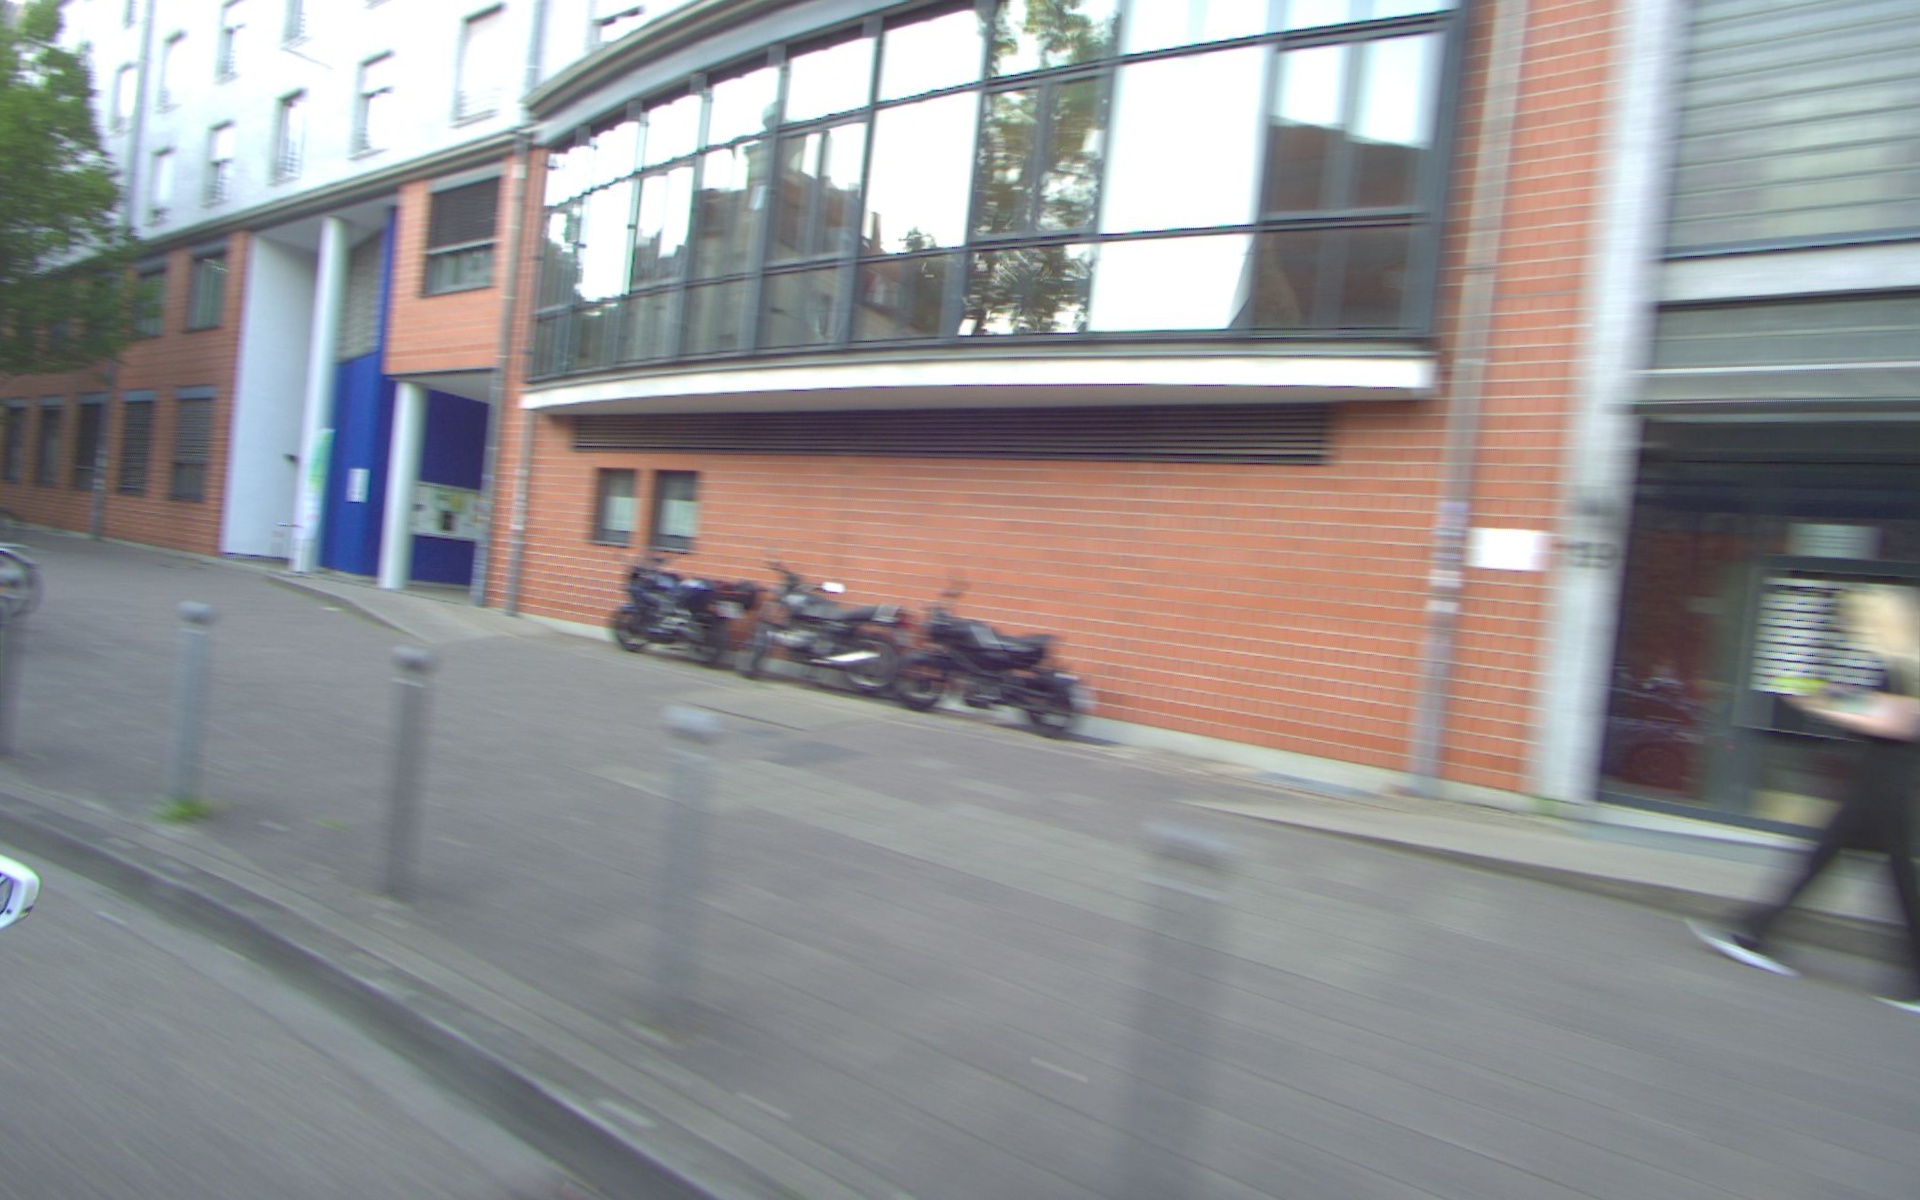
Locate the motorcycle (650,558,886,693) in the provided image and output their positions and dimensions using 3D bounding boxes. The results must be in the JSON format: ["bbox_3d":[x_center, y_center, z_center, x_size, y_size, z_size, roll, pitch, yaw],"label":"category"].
[{"bbox_3d":[-2.083,0.245,10.851,2.372,1.154,0.777,6,2,21],"label":"motorcycle"}]

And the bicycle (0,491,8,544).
[{"bbox_3d":[-22.632,-1.982,21.986,0.553,1.181,2.534,7,0,36],"label":"bicycle"}]

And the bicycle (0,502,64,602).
[{"bbox_3d":[-10.956,-0.570,10.823,0.515,1.080,1.858,7,2,32],"label":"bicycle"}]

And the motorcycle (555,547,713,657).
[{"bbox_3d":[-3.993,0.001,12.241,2.049,1.118,0.588,7,3,31],"label":"motorcycle"}]

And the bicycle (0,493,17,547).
[{"bbox_3d":[-22.119,-1.885,21.649,0.553,1.181,2.534,7,0,36],"label":"bicycle"}]

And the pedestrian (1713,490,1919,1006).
[{"bbox_3d":[3.922,0.601,4.346,0.844,2.039,0.607,7,1,35],"label":"pedestrian"}]

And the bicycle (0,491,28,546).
[{"bbox_3d":[-20.676,-1.749,20.523,0.669,1.114,2.343,7,3,36],"label":"bicycle"}]

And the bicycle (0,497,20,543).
[{"bbox_3d":[-21.631,-1.780,21.236,0.669,0.972,2.531,7,3,36],"label":"bicycle"}]

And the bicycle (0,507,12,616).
[{"bbox_3d":[-9.845,-0.415,9.258,0.464,1.052,1.540,7,2,32],"label":"bicycle"}]

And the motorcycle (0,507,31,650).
[{"bbox_3d":[-8.133,-0.205,7.485,0.636,1.116,1.646,7,2,26],"label":"motorcycle"}]

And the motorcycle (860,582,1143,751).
[{"bbox_3d":[0.322,0.534,9.058,2.401,1.155,0.799,7,3,34],"label":"motorcycle"}]

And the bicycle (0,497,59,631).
[{"bbox_3d":[-8.967,-0.347,8.529,0.648,1.162,1.857,7,3,34],"label":"bicycle"}]
